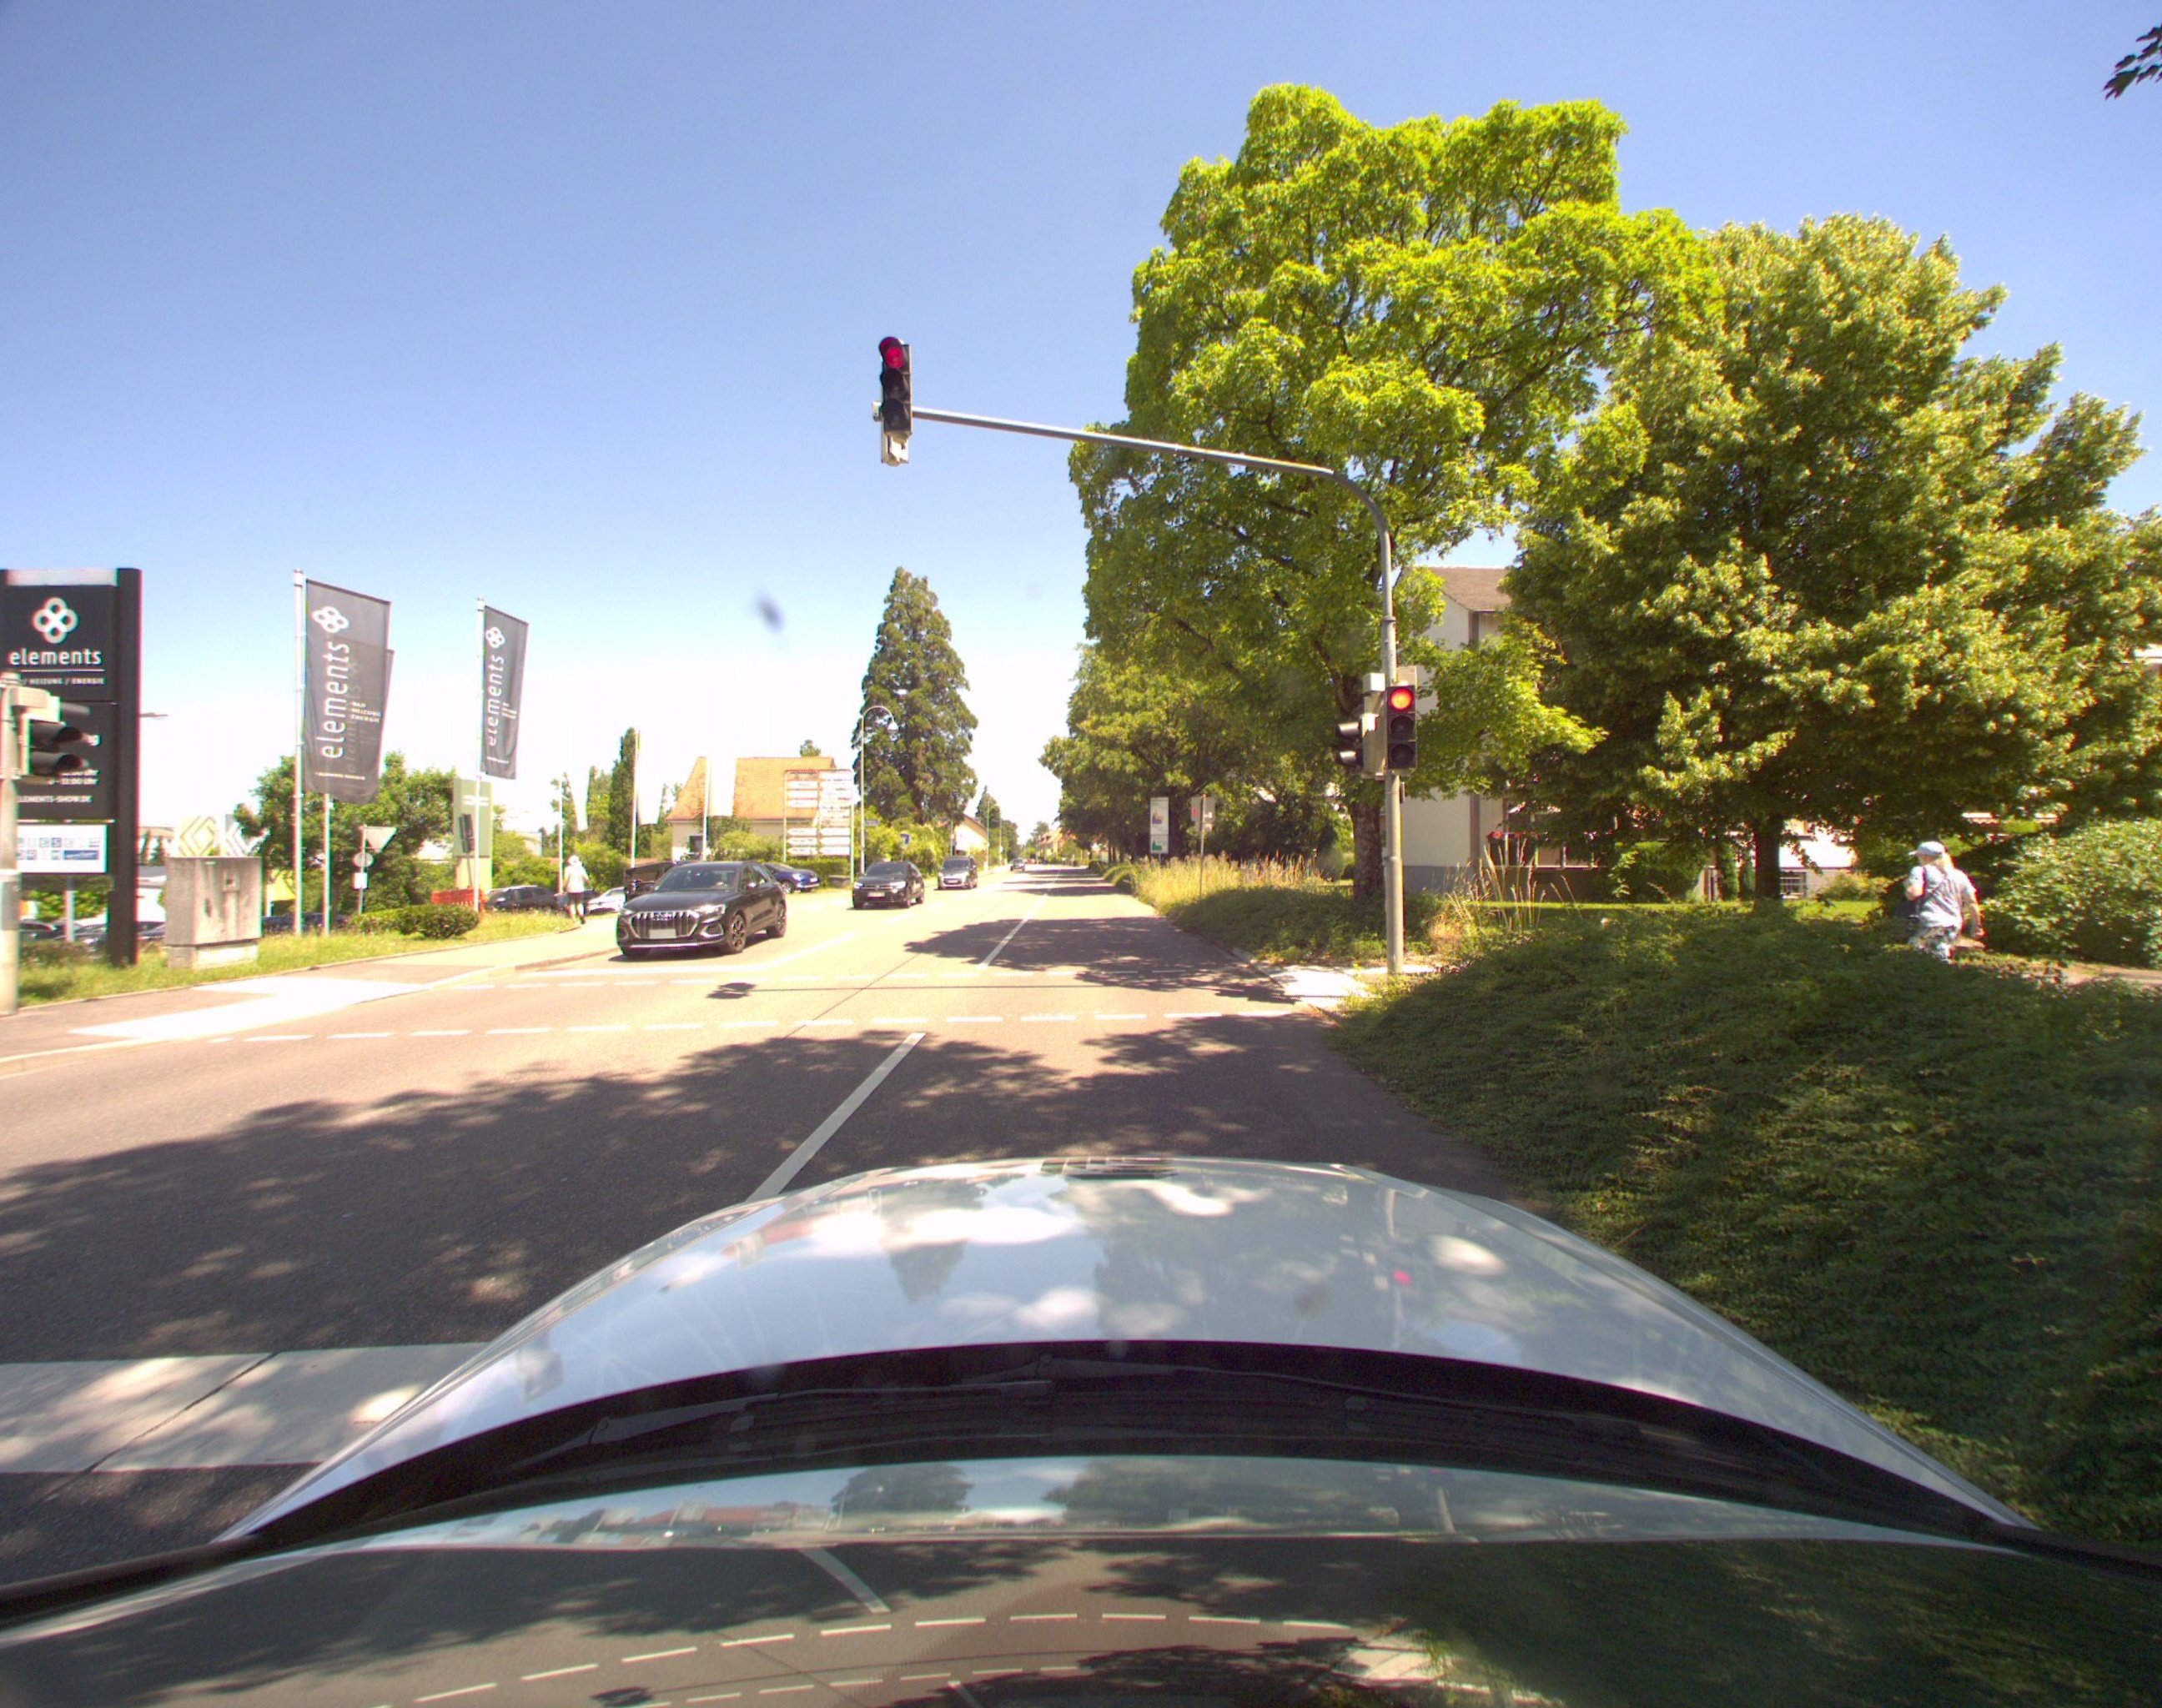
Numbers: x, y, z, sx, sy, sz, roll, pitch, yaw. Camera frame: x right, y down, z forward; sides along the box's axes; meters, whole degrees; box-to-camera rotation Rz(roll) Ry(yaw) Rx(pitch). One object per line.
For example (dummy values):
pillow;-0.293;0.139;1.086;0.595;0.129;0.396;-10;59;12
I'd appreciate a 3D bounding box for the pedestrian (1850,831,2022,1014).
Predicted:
pedestrian;8.129;0.618;7.778;0.717;1.633;0.849;-1;-1;-7

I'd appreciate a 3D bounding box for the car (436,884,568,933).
car;-23.292;2.127;32.932;1.795;1.722;4.106;-1;0;16

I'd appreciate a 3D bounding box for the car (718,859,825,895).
car;-13.912;1.036;36.689;4.109;1.504;1.782;-1;0;10

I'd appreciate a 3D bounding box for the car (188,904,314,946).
car;-34.375;2.900;33.869;1.647;1.415;3.856;-1;0;-9

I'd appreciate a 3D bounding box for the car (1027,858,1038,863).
car;-13.609;1.892;227.972;1.948;1.359;4.438;-1;0;-16

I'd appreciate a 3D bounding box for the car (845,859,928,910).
car;-6.318;0.943;26.891;1.864;1.507;4.049;-1;0;-2

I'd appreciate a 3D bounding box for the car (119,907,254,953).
car;-37.085;3.105;33.909;1.754;1.486;3.983;-1;0;-12

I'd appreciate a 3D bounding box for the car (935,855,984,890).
car;-6.435;0.956;43.583;1.804;1.762;4.571;-1;0;1

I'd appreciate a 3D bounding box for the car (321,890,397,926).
car;-39.459;2.908;44.621;1.816;1.722;4.059;0;0;-22

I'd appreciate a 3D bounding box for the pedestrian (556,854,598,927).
pedestrian;-12.523;0.894;20.240;0.538;1.761;0.706;-1;-1;28

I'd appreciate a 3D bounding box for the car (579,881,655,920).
car;-23.369;2.293;41.160;1.806;1.722;4.081;0;0;-6

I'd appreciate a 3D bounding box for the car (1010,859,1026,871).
car;-8.239;1.433;107.054;1.788;1.536;4.313;-1;0;-1

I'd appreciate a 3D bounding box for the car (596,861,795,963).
car;-6.866;0.941;15.076;1.923;1.555;4.295;-1;0;-5
